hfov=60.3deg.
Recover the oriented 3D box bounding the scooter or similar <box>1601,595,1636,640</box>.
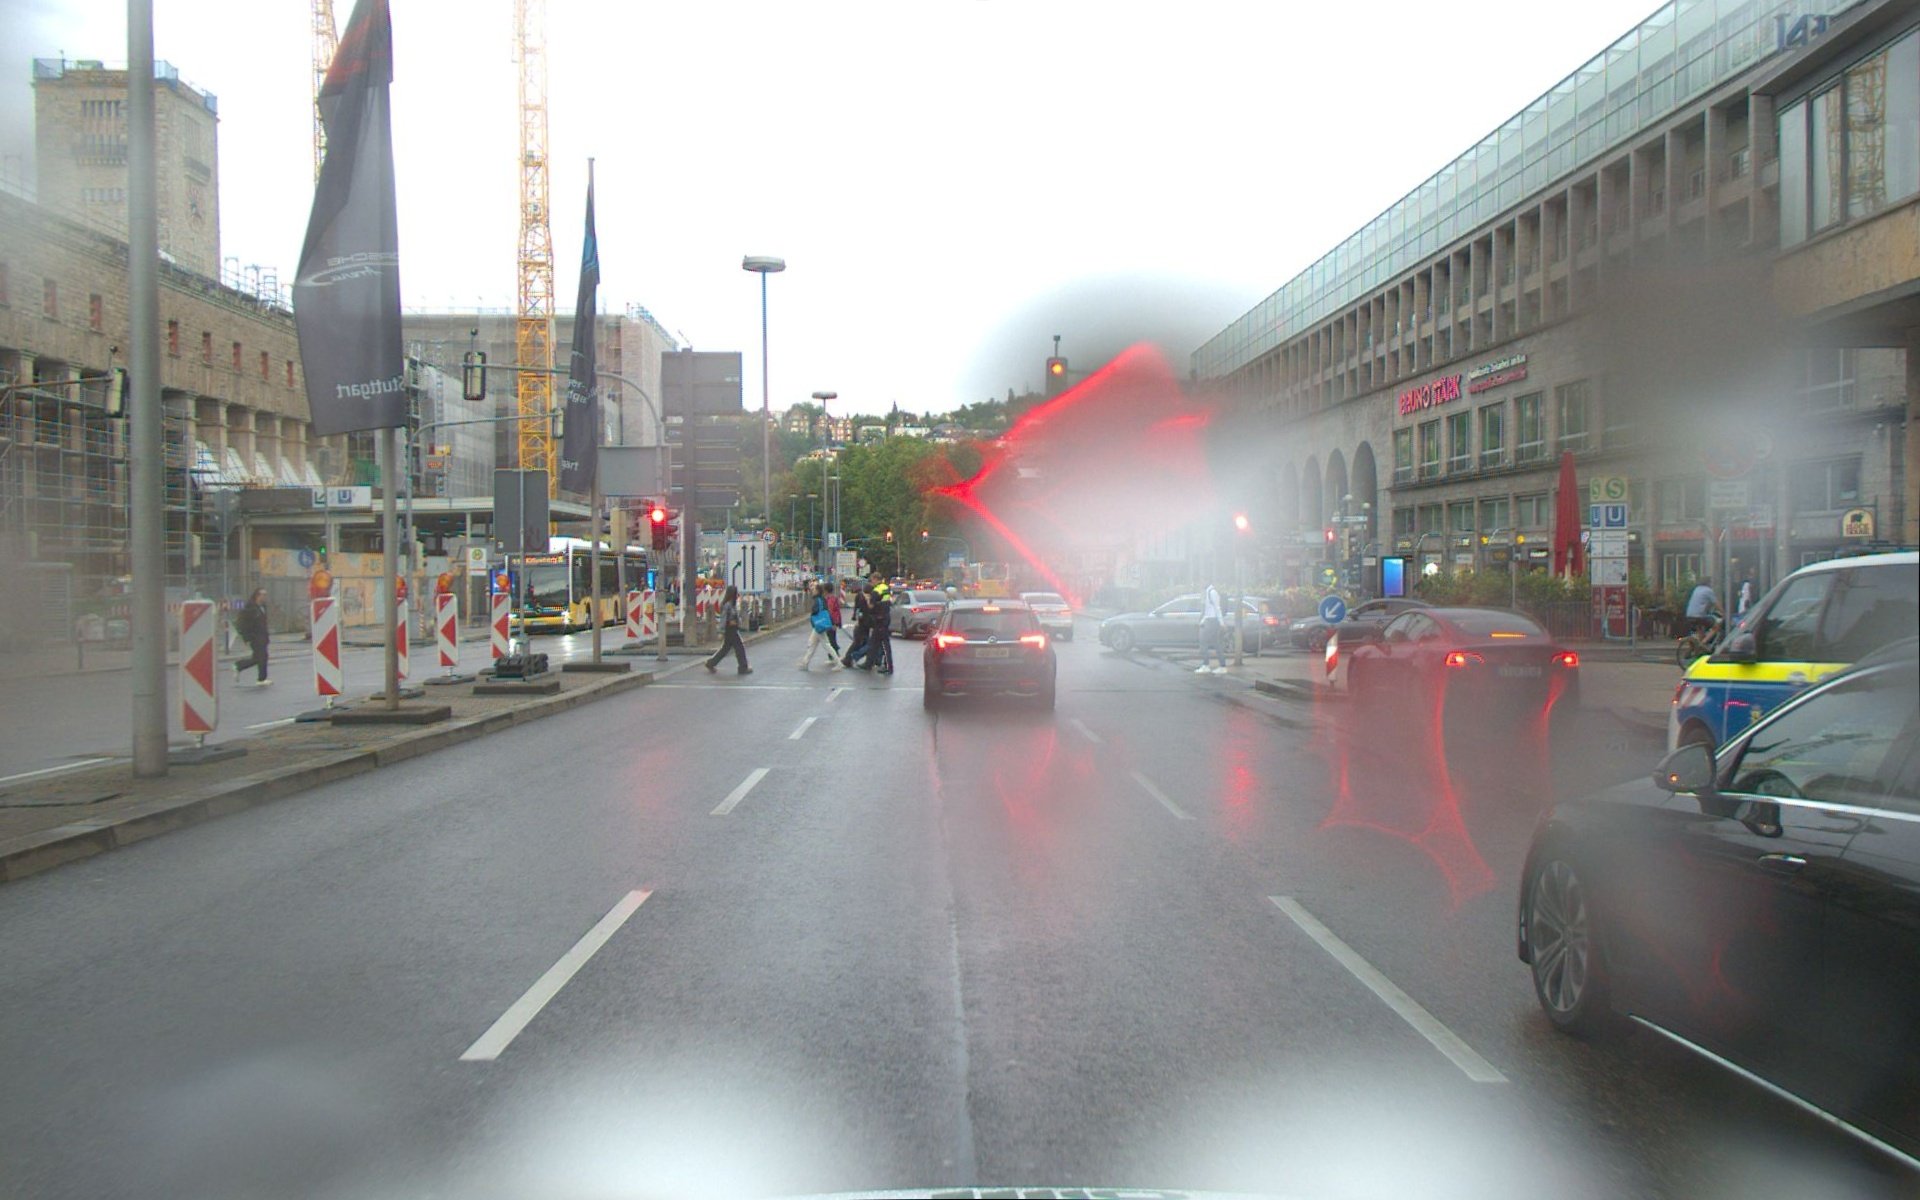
[{"bbox_3d":[17.969,0.474,45.162,0.285,1.210,1.014,1,0,-19],"label":"scooter or similar"}]

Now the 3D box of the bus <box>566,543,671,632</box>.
[{"bbox_3d":[-15.113,-0.515,74.000,2.614,3.665,10.210,1,0,0],"label":"bus"}]

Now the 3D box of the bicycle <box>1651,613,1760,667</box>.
[{"bbox_3d":[14.737,0.789,32.688,2.175,1.027,0.589,1,-1,-20],"label":"bicycle"}]

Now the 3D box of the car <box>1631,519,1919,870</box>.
[{"bbox_3d":[6.241,0.544,10.556,1.836,1.954,4.934,1,0,-1],"label":"car"}]

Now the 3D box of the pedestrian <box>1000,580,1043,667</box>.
[{"bbox_3d":[1.275,0.486,34.233,0.560,1.783,0.676,0,-1,42],"label":"pedestrian"}]

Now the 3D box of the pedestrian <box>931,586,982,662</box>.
[{"bbox_3d":[-0.073,0.505,35.266,0.769,1.588,0.875,1,-1,24],"label":"pedestrian"}]

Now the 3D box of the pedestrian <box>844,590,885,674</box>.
[{"bbox_3d":[-1.891,0.624,32.644,0.783,1.636,0.619,1,-1,-4],"label":"pedestrian"}]

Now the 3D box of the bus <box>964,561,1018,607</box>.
[{"bbox_3d":[2.432,-1.235,136.483,4.088,3.529,14.652,1,0,0],"label":"bus"}]

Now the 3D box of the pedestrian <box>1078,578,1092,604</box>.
[{"bbox_3d":[8.389,-0.626,110.899,0.748,1.720,0.824,1,-1,-5],"label":"pedestrian"}]

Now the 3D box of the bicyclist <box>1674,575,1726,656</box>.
[{"bbox_3d":[14.604,0.300,32.641,0.705,1.567,0.610,1,-1,-20],"label":"bicyclist"}]

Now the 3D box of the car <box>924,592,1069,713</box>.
[{"bbox_3d":[0.437,0.680,23.200,1.836,1.512,3.999,1,0,-1],"label":"car"}]

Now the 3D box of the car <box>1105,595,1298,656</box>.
[{"bbox_3d":[6.033,0.620,41.374,4.434,1.422,1.757,1,0,26],"label":"car"}]

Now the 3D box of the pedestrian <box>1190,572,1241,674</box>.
[{"bbox_3d":[4.910,0.446,31.801,0.784,1.923,0.619,1,-1,-9],"label":"pedestrian"}]

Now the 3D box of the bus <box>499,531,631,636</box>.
[{"bbox_3d":[-15.032,-0.556,63.816,2.614,3.665,10.238,1,0,0],"label":"bus"}]

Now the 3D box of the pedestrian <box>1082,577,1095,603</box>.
[{"bbox_3d":[8.542,-0.634,109.803,0.748,1.720,0.824,1,-1,-5],"label":"pedestrian"}]

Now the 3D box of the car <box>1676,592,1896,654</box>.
[{"bbox_3d":[20.290,0.555,40.761,4.537,1.422,1.759,1,0,1],"label":"car"}]

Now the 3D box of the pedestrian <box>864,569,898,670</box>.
[{"bbox_3d":[-1.489,0.358,31.154,0.566,1.868,0.820,1,-1,0],"label":"pedestrian"}]

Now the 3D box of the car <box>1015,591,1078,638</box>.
[{"bbox_3d":[2.746,0.452,53.259,1.808,1.422,3.563,1,0,0],"label":"car"}]

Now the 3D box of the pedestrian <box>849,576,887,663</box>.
[{"bbox_3d":[-1.879,0.404,33.658,0.740,1.747,0.466,1,-1,-4],"label":"pedestrian"}]

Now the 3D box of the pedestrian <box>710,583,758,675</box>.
[{"bbox_3d":[-4.148,0.529,30.445,0.778,1.655,0.899,1,0,-4],"label":"pedestrian"}]

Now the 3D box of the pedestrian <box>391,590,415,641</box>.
[{"bbox_3d":[-20.840,0.569,61.886,0.648,1.887,0.798,0,0,-1],"label":"pedestrian"}]

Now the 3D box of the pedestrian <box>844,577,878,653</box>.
[{"bbox_3d":[-1.987,0.300,33.166,0.665,1.500,0.366,1,-1,-5],"label":"pedestrian"}]

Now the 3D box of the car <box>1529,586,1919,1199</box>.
[{"bbox_3d":[3.095,0.747,4.165,1.756,1.528,4.628,1,0,0],"label":"car"}]

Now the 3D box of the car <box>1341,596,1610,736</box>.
[{"bbox_3d":[6.191,0.737,20.442,1.836,1.512,4.525,1,0,-1],"label":"car"}]

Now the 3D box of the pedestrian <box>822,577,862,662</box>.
[{"bbox_3d":[-2.477,0.398,34.660,0.783,1.747,0.619,-1,0,-4],"label":"pedestrian"}]

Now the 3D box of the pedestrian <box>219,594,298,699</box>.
[{"bbox_3d":[-12.312,0.813,29.051,1.074,1.782,0.653,-2,0,-3],"label":"pedestrian"}]

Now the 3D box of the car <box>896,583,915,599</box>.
[{"bbox_3d":[-5.245,-0.872,160.048,1.723,1.422,3.563,1,0,0],"label":"car"}]

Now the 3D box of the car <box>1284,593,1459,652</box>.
[{"bbox_3d":[10.615,0.561,42.894,4.294,1.422,1.760,1,0,12],"label":"car"}]

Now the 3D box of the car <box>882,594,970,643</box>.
[{"bbox_3d":[-1.107,0.537,50.936,1.723,1.422,4.520,1,0,-14],"label":"car"}]

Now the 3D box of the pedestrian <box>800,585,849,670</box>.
[{"bbox_3d":[-2.600,0.517,31.803,0.897,1.591,0.899,1,0,-4],"label":"pedestrian"}]
